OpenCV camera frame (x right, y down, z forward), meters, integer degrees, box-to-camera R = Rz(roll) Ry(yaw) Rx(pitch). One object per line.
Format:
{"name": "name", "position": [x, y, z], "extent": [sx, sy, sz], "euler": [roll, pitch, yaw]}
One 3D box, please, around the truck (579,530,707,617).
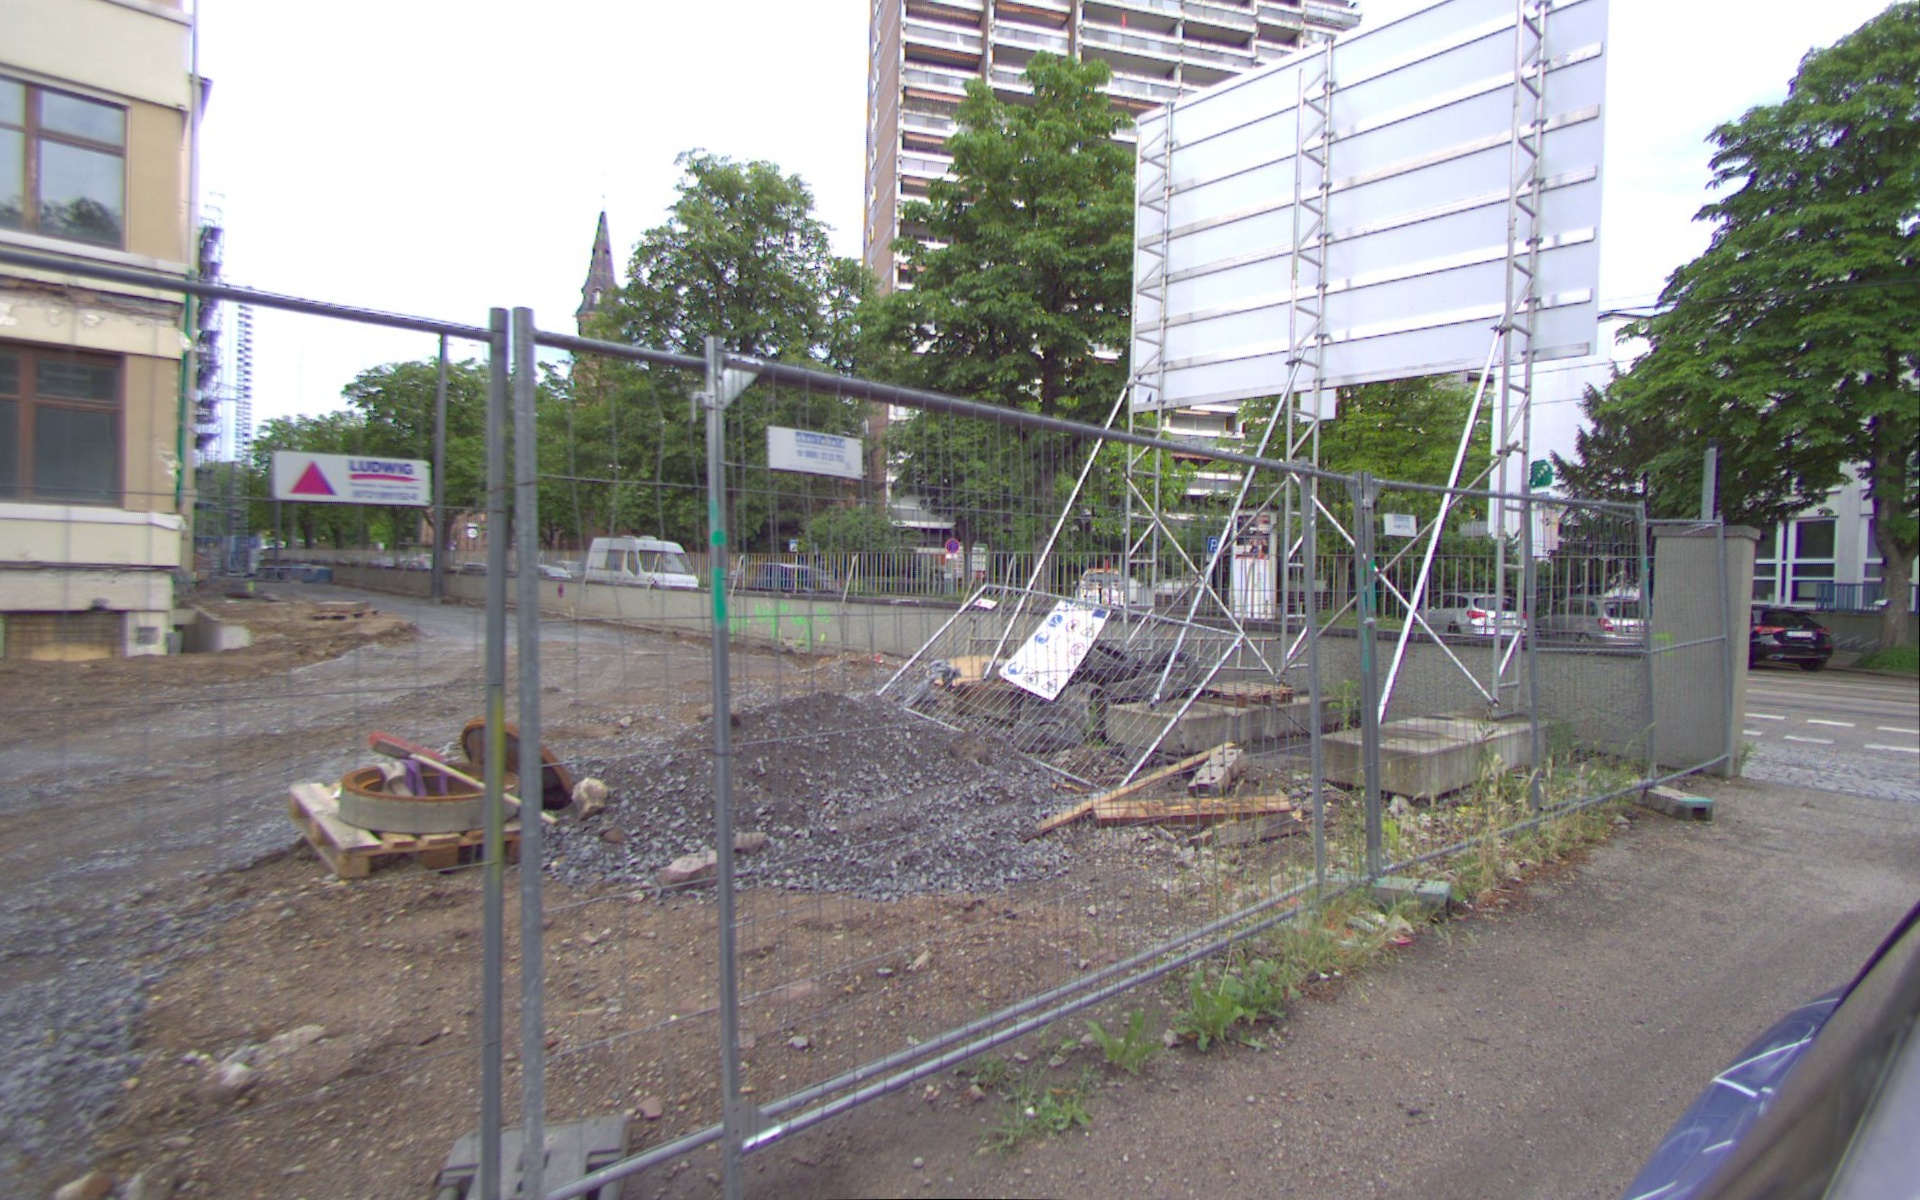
{"name": "truck", "position": [-10.593, -0.922, 33.543], "extent": [2.082, 2.634, 5.485], "euler": [-1, 3, -40]}

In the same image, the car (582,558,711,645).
{"name": "car", "position": [-10.460, -0.051, 33.489], "extent": [2.082, 2.634, 5.485], "euler": [0, 2, -40]}

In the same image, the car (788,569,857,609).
{"name": "car", "position": [-5.807, -0.505, 42.554], "extent": [1.653, 1.540, 2.778], "euler": [-1, 4, -41]}

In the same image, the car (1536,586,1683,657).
{"name": "car", "position": [16.365, 0.482, 25.703], "extent": [1.545, 1.542, 3.648], "euler": [1, 2, 5]}

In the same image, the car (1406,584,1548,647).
{"name": "car", "position": [14.465, 0.359, 28.611], "extent": [1.770, 1.482, 4.432], "euler": [2, 2, 1]}

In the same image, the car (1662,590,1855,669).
{"name": "car", "position": [18.260, 0.606, 23.384], "extent": [1.670, 1.542, 3.703], "euler": [1, 2, 5]}

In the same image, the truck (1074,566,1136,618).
{"name": "truck", "position": [5.533, -0.377, 39.127], "extent": [1.964, 1.871, 5.060], "euler": [1, 2, 4]}
